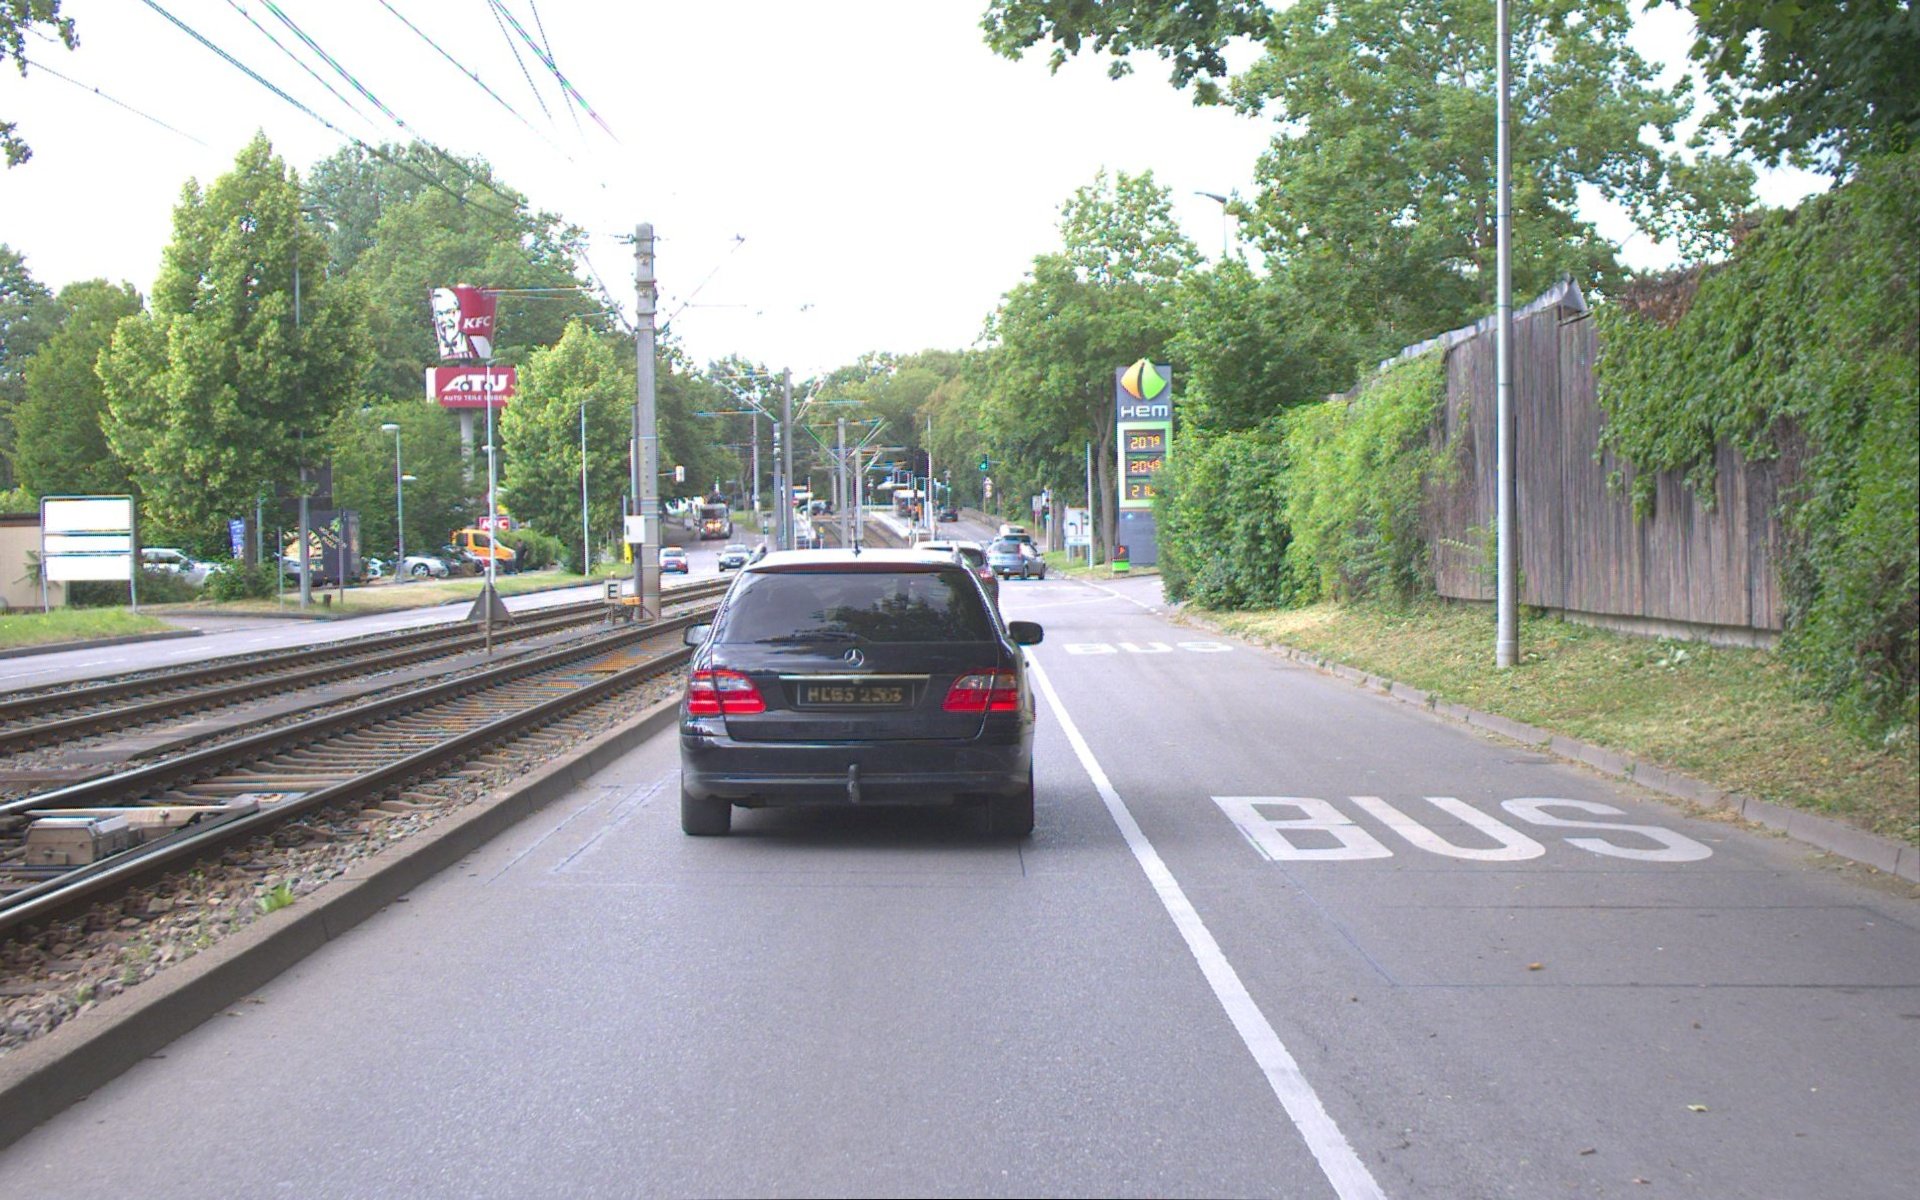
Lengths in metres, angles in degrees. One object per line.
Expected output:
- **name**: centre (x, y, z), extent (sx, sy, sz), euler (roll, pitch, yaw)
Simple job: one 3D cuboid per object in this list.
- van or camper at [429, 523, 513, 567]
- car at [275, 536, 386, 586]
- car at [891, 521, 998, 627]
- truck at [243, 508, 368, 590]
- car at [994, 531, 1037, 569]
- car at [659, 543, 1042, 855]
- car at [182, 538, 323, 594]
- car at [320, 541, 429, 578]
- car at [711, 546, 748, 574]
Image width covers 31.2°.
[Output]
- **van or camper**: centre (-24.404, -2.764, 171.550), extent (3.986, 2.127, 1.878), euler (-1, 1, -4)
- **car**: centre (-24.094, -1.491, 131.701), extent (3.986, 1.791, 1.878), euler (-1, 1, -4)
- **car**: centre (-0.258, -0.454, 59.923), extent (1.780, 1.744, 3.718), euler (1, 0, 0)
- **truck**: centre (-23.262, -1.821, 122.238), extent (3.986, 2.812, 2.376), euler (-1, 1, -2)
- **car**: centre (2.122, -1.910, 131.509), extent (1.571, 1.410, 3.354), euler (1, 0, 0)
- **car**: centre (-0.517, 0.438, 18.242), extent (1.808, 1.469, 3.881), euler (0, 1, 0)
- **car**: centre (-23.300, -1.128, 113.292), extent (4.220, 1.721, 1.996), euler (-1, 1, -2)
- **car**: centre (-24.686, -1.723, 145.088), extent (4.306, 1.467, 1.680), euler (-1, 1, -2)
- **car**: centre (-12.705, -2.204, 189.672), extent (1.759, 1.396, 4.444), euler (-4, 1, -1)
